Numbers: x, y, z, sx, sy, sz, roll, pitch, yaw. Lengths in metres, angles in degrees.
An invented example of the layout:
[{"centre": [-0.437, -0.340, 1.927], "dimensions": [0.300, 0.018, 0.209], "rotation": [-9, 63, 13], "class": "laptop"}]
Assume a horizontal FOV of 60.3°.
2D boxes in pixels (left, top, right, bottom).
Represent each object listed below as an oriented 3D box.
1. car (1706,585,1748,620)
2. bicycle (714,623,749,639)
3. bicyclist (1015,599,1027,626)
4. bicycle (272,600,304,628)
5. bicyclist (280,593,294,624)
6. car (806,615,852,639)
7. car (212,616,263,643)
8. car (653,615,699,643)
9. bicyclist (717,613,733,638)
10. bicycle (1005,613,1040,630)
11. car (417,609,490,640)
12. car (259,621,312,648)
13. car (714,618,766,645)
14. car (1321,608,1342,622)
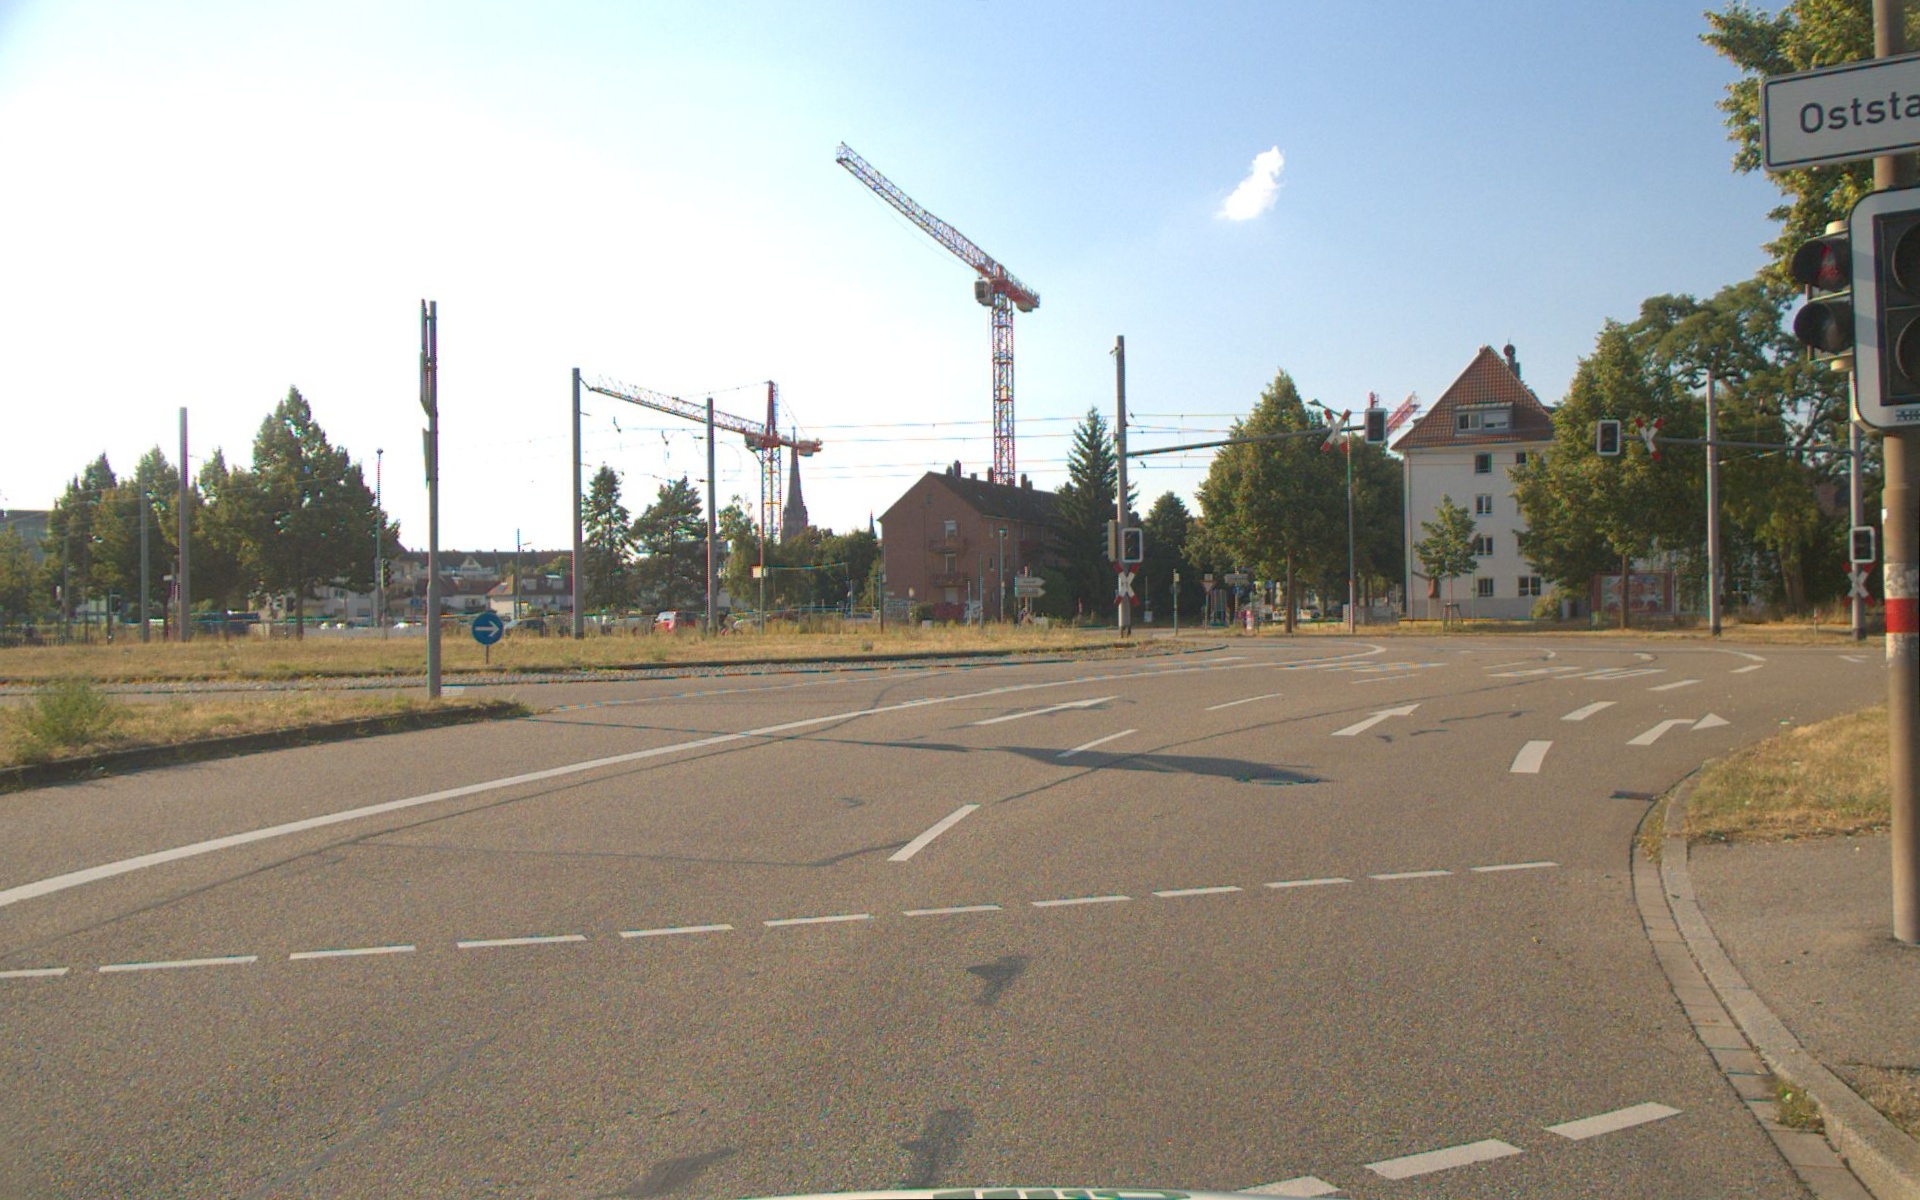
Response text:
[{"centre": [38.261, 0.144, 82.495], "dimensions": [1.737, 1.646, 3.964], "rotation": [-1, -1, 27], "class": "car"}, {"centre": [-13.265, 1.794, 96.077], "dimensions": [1.949, 0.839, 0.429], "rotation": [-1, 0, -7], "class": "bicycle"}, {"centre": [3.487, 0.734, 94.972], "dimensions": [0.610, 1.537, 0.418], "rotation": [-1, 0, -6], "class": "bicyclist"}, {"centre": [-36.996, 0.779, 91.051], "dimensions": [1.512, 1.499, 0.478], "rotation": [-1, 0, -12], "class": "bicycle"}, {"centre": [-37.044, 0.475, 91.049], "dimensions": [0.596, 1.701, 0.476], "rotation": [-1, -1, -12], "class": "bicyclist"}, {"centre": [-11.729, 2.377, 147.730], "dimensions": [3.728, 2.049, 1.673], "rotation": [-1, -1, 18], "class": "car"}, {"centre": [-58.672, 2.398, 134.270], "dimensions": [3.916, 2.049, 1.994], "rotation": [-1, 0, 34], "class": "car"}, {"centre": [-19.860, 2.012, 115.542], "dimensions": [1.899, 1.886, 3.959], "rotation": [-1, 0, -30], "class": "car"}, {"centre": [-13.671, 1.469, 96.101], "dimensions": [0.880, 1.421, 0.525], "rotation": [-1, 0, -6], "class": "bicyclist"}, {"centre": [3.577, 1.209, 94.971], "dimensions": [1.949, 0.934, 0.429], "rotation": [-1, 0, -7], "class": "bicycle"}, {"centre": [-31.398, 1.511, 102.498], "dimensions": [3.950, 1.847, 1.977], "rotation": [-1, 0, -33], "class": "car"}, {"centre": [-52.728, 2.709, 129.270], "dimensions": [3.916, 2.049, 1.994], "rotation": [-1, 0, 34], "class": "car"}, {"centre": [-17.524, 2.490, 131.653], "dimensions": [3.728, 2.049, 1.673], "rotation": [-1, -1, 18], "class": "car"}, {"centre": [37.916, 1.546, 168.888], "dimensions": [1.426, 1.323, 3.547], "rotation": [-1, 0, 23], "class": "car"}]
